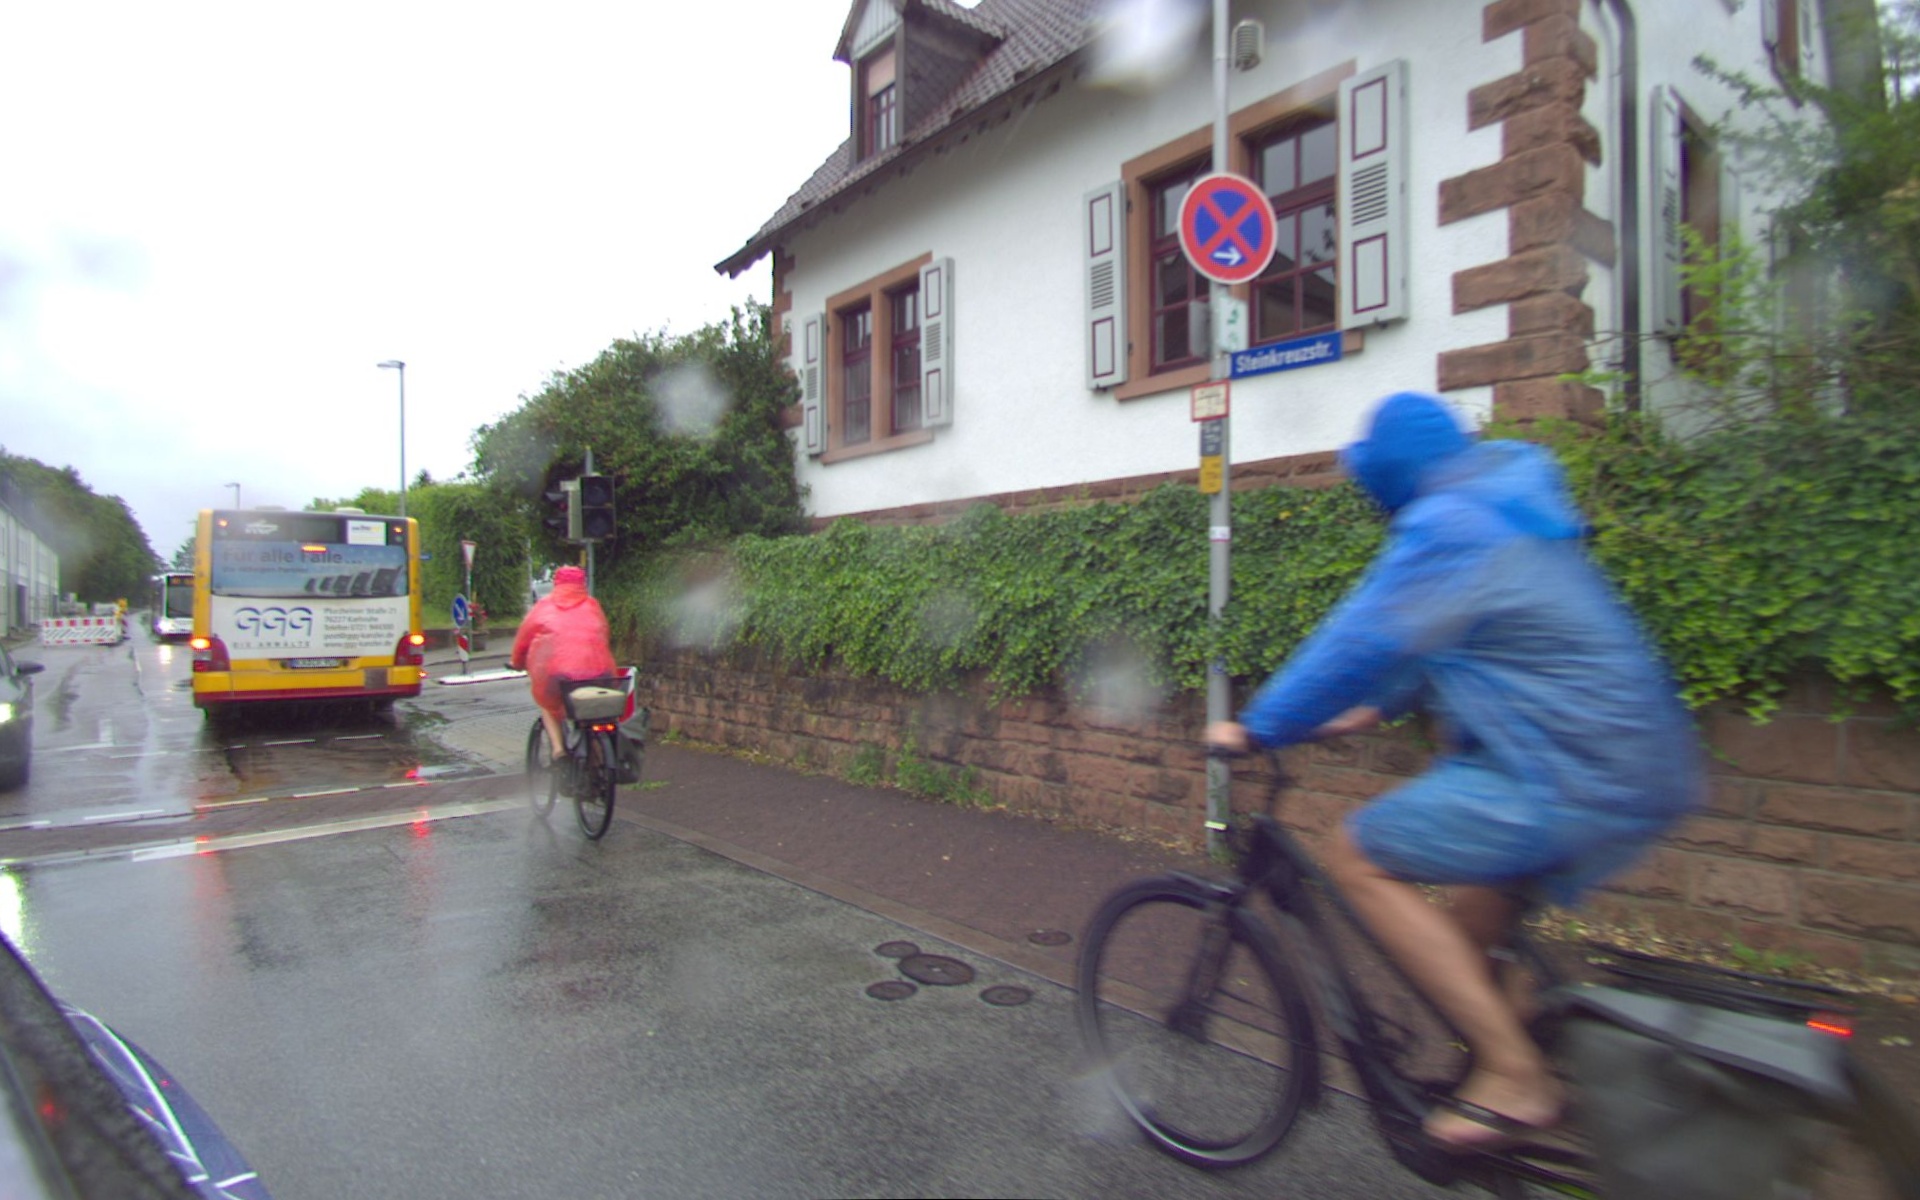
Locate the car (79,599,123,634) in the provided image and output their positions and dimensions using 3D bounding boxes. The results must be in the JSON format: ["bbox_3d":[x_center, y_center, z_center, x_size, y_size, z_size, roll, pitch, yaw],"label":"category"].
[{"bbox_3d":[-47.620,0.867,56.151,1.753,1.811,4.195,-1,1,-40],"label":"car"}]

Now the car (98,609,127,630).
[{"bbox_3d":[-69.235,1.581,82.729,1.753,1.623,4.195,-1,1,-40],"label":"car"}]

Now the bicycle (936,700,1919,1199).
[{"bbox_3d":[0.953,0.858,2.142,0.672,1.059,2.343,-1,1,-40],"label":"bicycle"}]

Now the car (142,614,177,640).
[{"bbox_3d":[-54.628,1.789,69.038,1.753,1.623,4.195,-1,1,-40],"label":"car"}]

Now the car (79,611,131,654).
[{"bbox_3d":[-39.465,1.466,46.771,1.753,1.811,4.195,-1,1,-40],"label":"car"}]

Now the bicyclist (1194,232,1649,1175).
[{"bbox_3d":[1.058,0.187,2.345,0.679,1.726,0.704,-1,0,-41],"label":"bicyclist"}]

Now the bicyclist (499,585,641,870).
[{"bbox_3d":[-2.643,0.810,6.838,0.648,1.783,0.704,-1,-2,-41],"label":"bicyclist"}]

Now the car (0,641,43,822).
[{"bbox_3d":[-9.922,1.180,9.479,1.753,1.366,4.195,-2,1,-40],"label":"car"}]

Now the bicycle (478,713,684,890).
[{"bbox_3d":[-2.600,1.269,6.797,0.653,0.877,1.937,-1,-2,-40],"label":"bicycle"}]

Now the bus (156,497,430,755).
[{"bbox_3d":[-11.555,0.345,17.336,2.769,2.961,11.970,-1,0,-35],"label":"bus"}]

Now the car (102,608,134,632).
[{"bbox_3d":[-63.289,1.460,76.112,1.753,1.623,4.195,-3,2,-40],"label":"car"}]

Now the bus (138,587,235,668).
[{"bbox_3d":[-38.196,1.221,49.900,3.388,3.437,13.898,0,0,-38],"label":"bus"}]

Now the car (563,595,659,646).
[{"bbox_3d":[-12.871,0.746,37.170,1.968,1.728,4.195,-1,0,-40],"label":"car"}]

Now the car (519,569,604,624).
[{"bbox_3d":[-16.304,-0.148,41.294,1.969,2.078,4.195,-2,1,-40],"label":"car"}]
